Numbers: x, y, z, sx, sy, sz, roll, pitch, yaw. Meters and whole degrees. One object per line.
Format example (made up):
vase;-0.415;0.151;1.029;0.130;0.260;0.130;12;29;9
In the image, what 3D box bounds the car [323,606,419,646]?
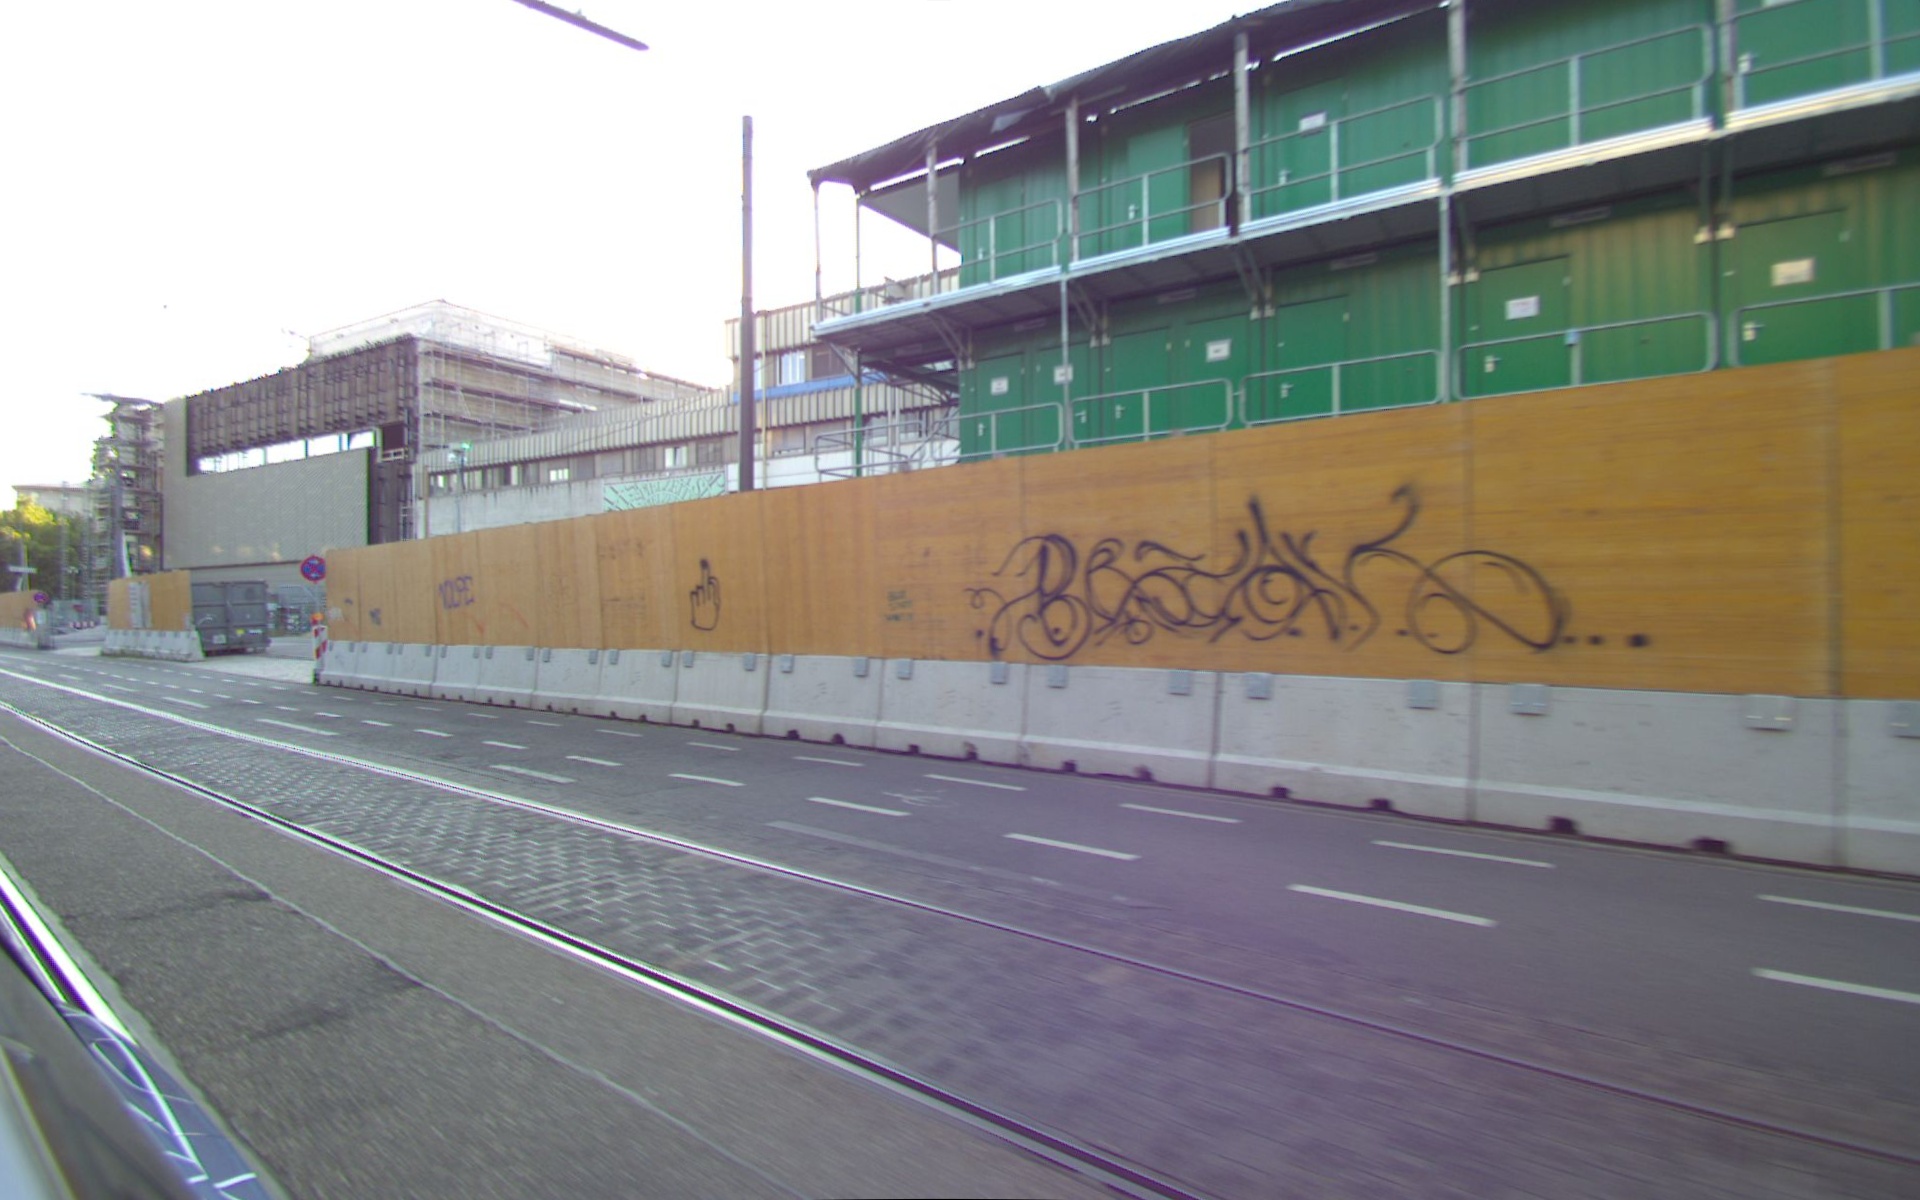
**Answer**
car;-25.926;1.134;44.541;4.267;1.676;1.978;-1;-1;33
